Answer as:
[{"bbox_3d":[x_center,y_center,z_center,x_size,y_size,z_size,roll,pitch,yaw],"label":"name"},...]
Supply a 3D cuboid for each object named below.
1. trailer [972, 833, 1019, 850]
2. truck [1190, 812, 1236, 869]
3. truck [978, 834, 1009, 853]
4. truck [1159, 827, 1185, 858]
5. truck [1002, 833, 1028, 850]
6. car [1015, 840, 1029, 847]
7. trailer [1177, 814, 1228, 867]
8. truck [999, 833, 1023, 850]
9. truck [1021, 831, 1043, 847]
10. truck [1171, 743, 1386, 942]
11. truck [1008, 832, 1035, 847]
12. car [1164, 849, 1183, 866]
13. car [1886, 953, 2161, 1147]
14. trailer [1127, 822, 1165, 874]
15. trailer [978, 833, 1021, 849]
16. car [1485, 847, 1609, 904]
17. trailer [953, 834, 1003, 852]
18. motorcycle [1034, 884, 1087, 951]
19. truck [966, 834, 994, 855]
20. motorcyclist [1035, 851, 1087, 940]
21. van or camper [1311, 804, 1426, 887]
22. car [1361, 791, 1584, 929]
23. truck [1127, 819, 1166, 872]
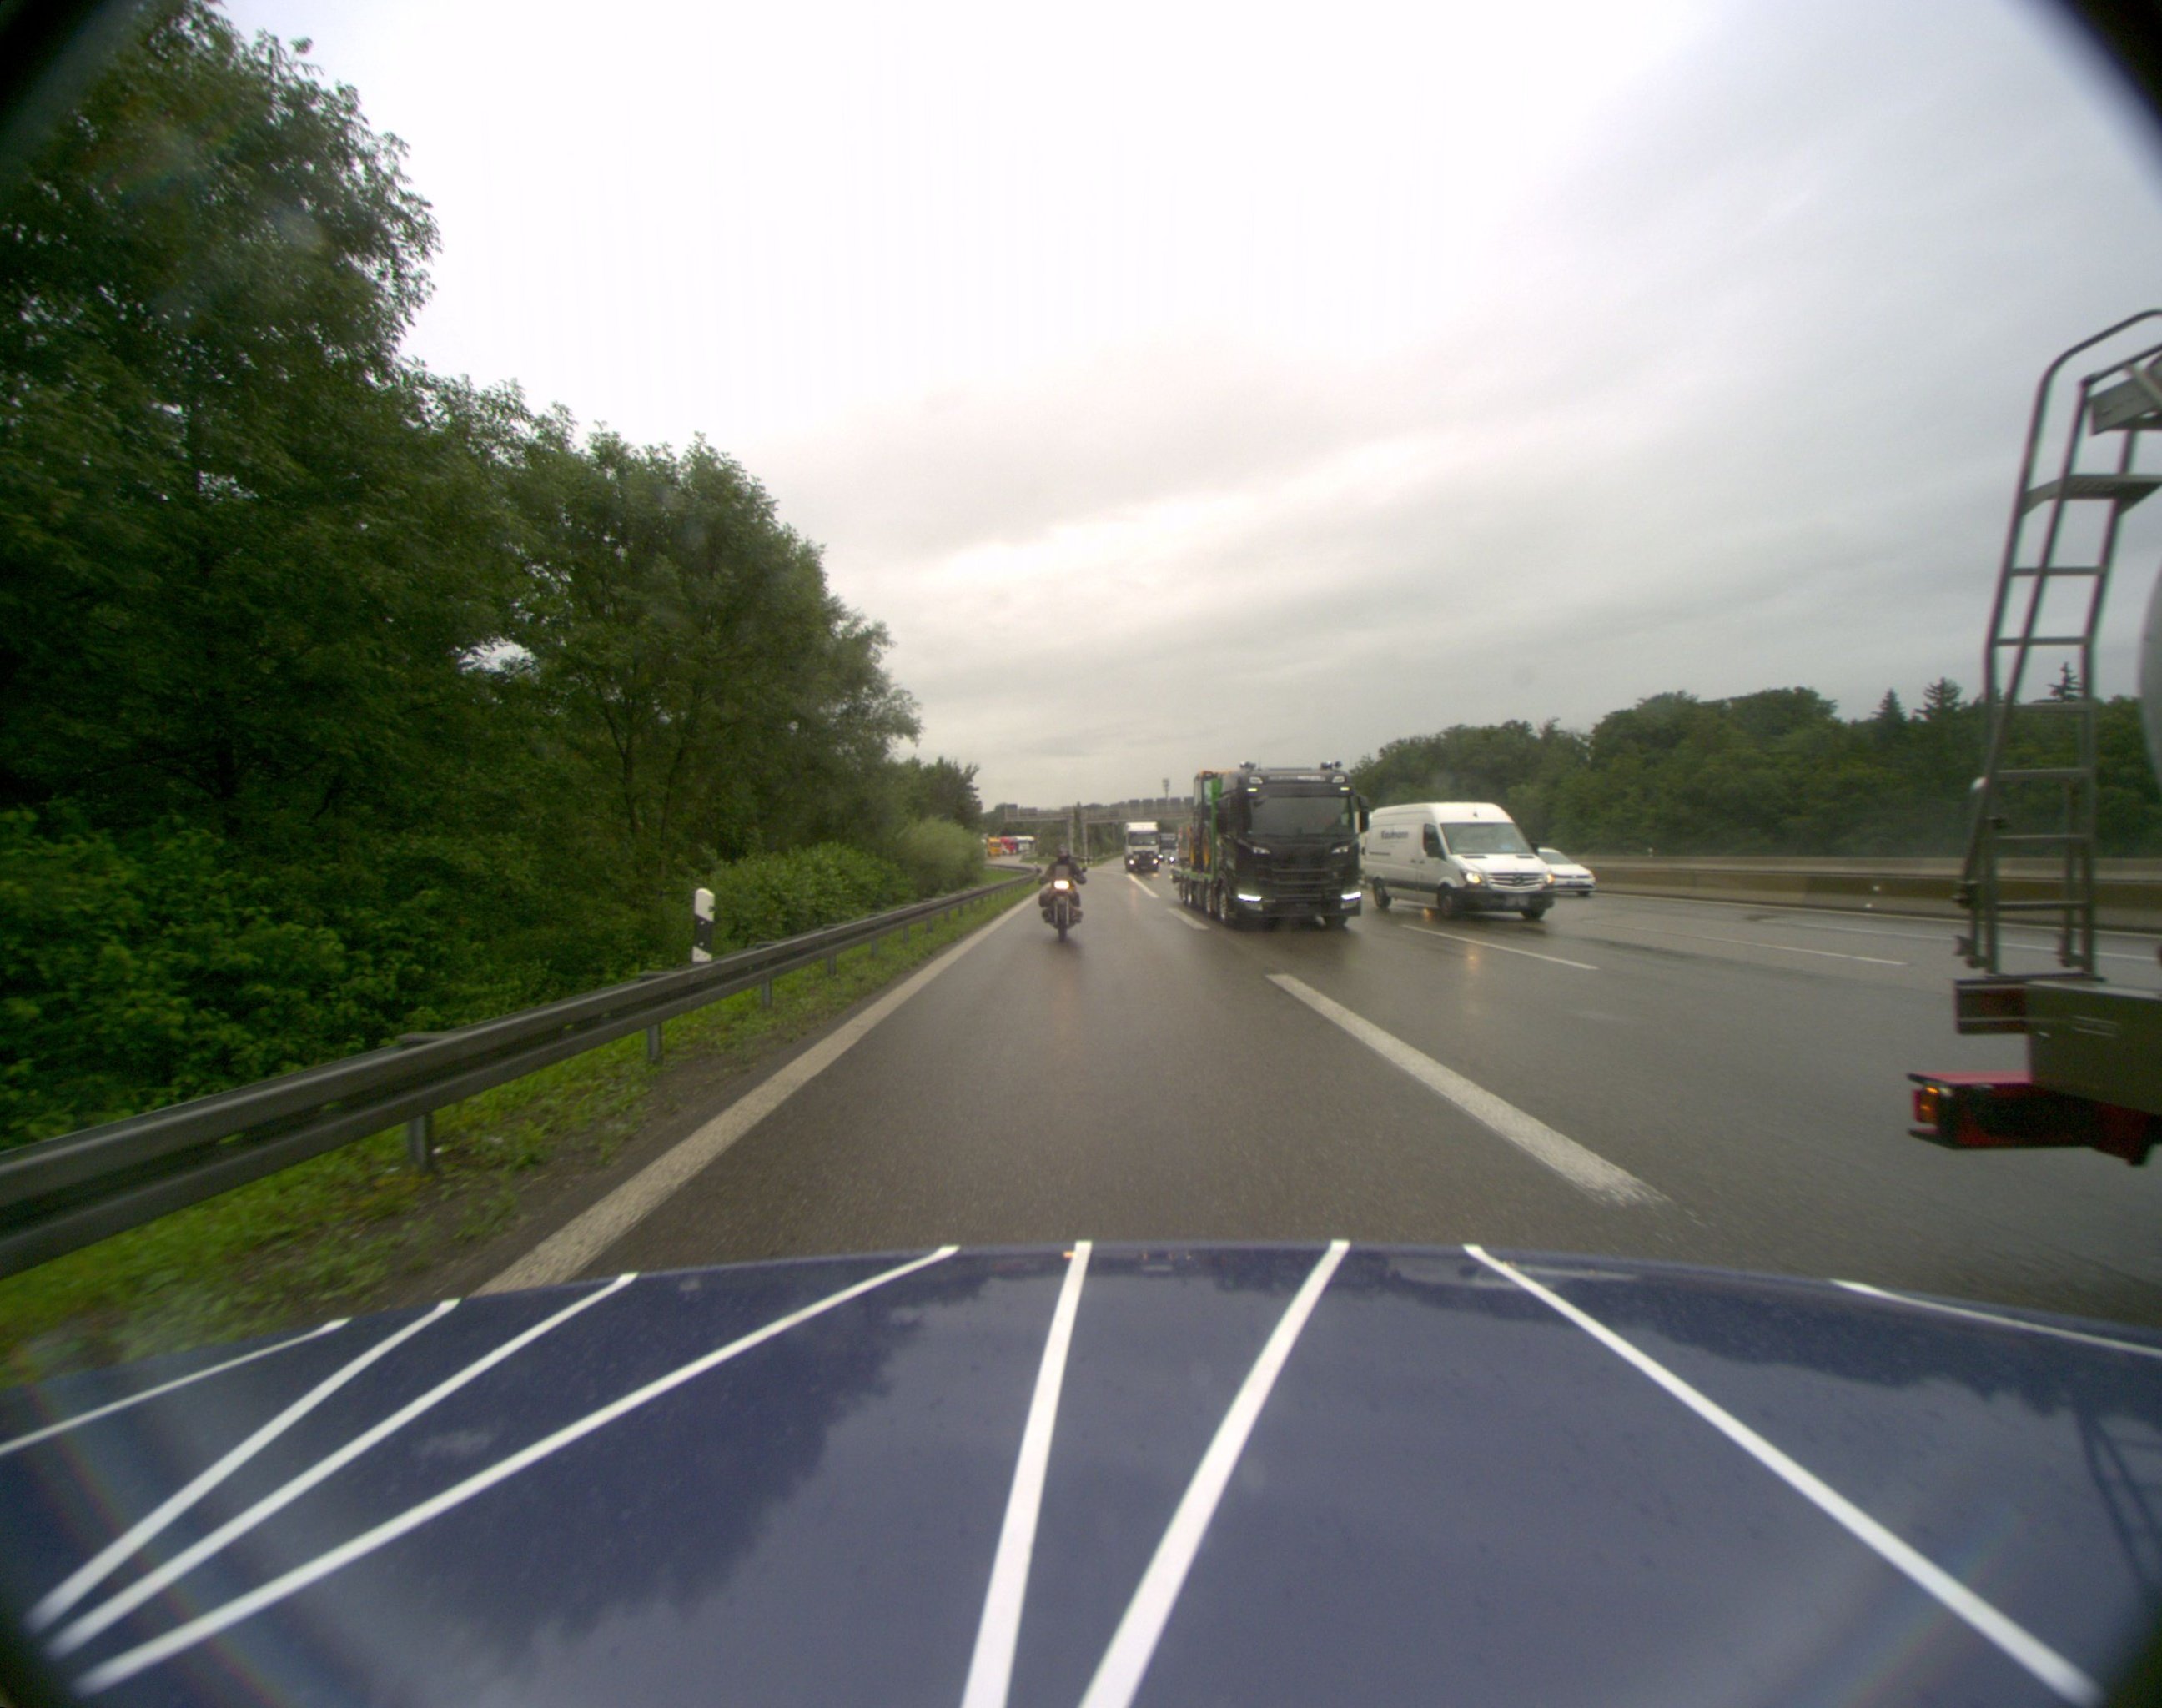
[{"bbox_3d":[-21.037,-2.963,184.949,3.252,3.897,14.788,-3,3,-42],"label":"trailer"},{"bbox_3d":[9.438,-0.957,54.827,2.633,3.842,4.589,-1,1,3],"label":"truck"},{"bbox_3d":[-19.236,-2.341,166.398,2.845,3.897,8.107,-3,3,-38],"label":"truck"},{"bbox_3d":[13.335,-1.804,112.304,3.354,4.048,12.572,-5,2,6],"label":"truck"},{"bbox_3d":[-16.172,-3.093,184.992,2.905,3.897,6.537,-3,3,-42],"label":"truck"},{"bbox_3d":[-15.735,-2.795,202.445,1.851,1.848,3.989,-4,3,-40],"label":"car"},{"bbox_3d":[9.758,-1.069,62.470,2.633,3.842,13.676,-1,1,3],"label":"trailer"},{"bbox_3d":[-16.532,-2.871,179.946,3.252,3.897,5.007,-3,3,-42],"label":"truck"},{"bbox_3d":[-13.982,-4.233,217.833,3.252,4.362,5.797,-4,3,-42],"label":"truck"},{"bbox_3d":[4.278,-0.270,19.672,2.838,3.568,11.797,-1,1,2],"label":"truck"},{"bbox_3d":[-16.389,-4.076,209.154,3.252,4.069,7.915,-3,3,-42],"label":"truck"},{"bbox_3d":[10.834,0.372,89.130,1.762,1.762,3.999,-5,2,3],"label":"car"},{"bbox_3d":[11.815,2.156,7.943,1.932,1.514,4.762,-1,1,4],"label":"car"},{"bbox_3d":[5.823,-0.653,68.913,2.925,4.181,13.636,-1,1,4],"label":"trailer"},{"bbox_3d":[-20.483,-3.201,189.741,2.881,3.897,13.895,-3,3,-42],"label":"trailer"},{"bbox_3d":[15.680,0.672,25.826,1.778,1.745,4.000,-1,0,0],"label":"car"},{"bbox_3d":[-23.408,-2.517,171.596,2.874,3.897,16.586,-3,3,-39],"label":"trailer"},{"bbox_3d":[-0.340,1.143,14.336,0.878,1.016,2.352,-1,1,1],"label":"motorcycle"},{"bbox_3d":[-19.640,-1.814,148.006,2.836,3.891,5.395,-3,2,-40],"label":"truck"},{"bbox_3d":[-0.349,0.739,14.207,0.878,1.559,1.373,-1,1,1],"label":"motorcyclist"},{"bbox_3d":[12.382,-0.390,33.471,2.585,3.186,7.130,-1,1,2],"label":"van or camper"},{"bbox_3d":[8.656,0.078,17.633,2.221,2.614,5.843,-2,1,1],"label":"car"},{"bbox_3d":[5.353,-0.761,62.741,2.925,4.076,6.719,-1,1,4],"label":"truck"}]
